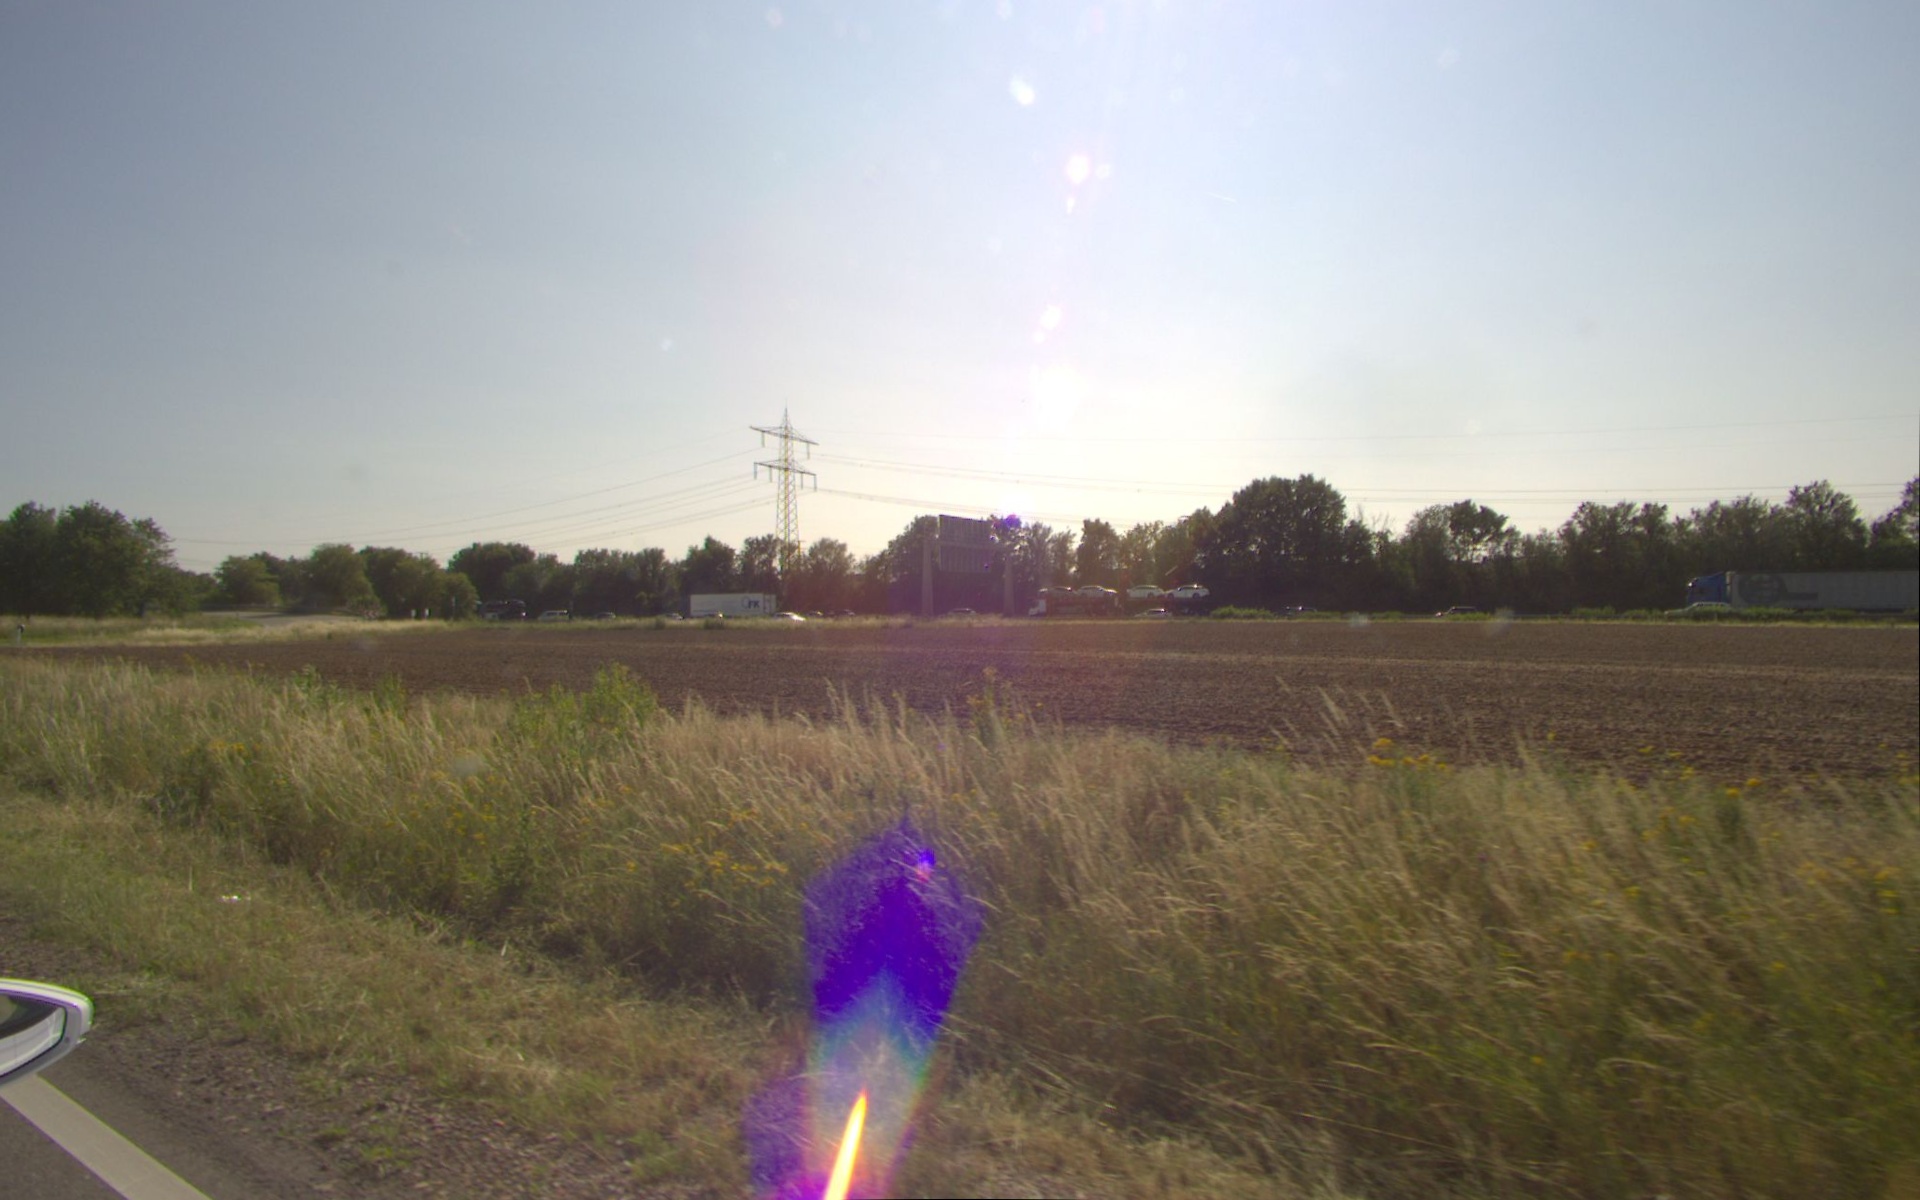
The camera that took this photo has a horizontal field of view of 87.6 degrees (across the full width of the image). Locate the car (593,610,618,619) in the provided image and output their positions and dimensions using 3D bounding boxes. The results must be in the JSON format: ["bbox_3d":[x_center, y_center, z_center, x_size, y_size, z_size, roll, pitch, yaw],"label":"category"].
[{"bbox_3d":[-49.292,1.984,139.146,3.527,1.166,1.393,0,-1,30],"label":"car"}]

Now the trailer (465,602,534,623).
[{"bbox_3d":[-74.785,2.021,162.489,13.253,3.310,3.279,0,0,31],"label":"trailer"}]

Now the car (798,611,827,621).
[{"bbox_3d":[-18.907,2.056,128.553,3.527,1.166,1.393,0,-1,30],"label":"car"}]

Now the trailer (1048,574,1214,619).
[{"bbox_3d":[18.006,-0.270,106.718,17.301,4.512,3.416,-1,0,30],"label":"trailer"}]

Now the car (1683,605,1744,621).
[{"bbox_3d":[56.614,1.002,75.294,3.530,1.166,1.392,0,-1,33],"label":"car"}]

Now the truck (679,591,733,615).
[{"bbox_3d":[-35.440,0.437,139.694,6.876,3.310,3.279,-1,0,31],"label":"truck"}]

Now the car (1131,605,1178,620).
[{"bbox_3d":[19.086,1.255,98.332,4.186,1.403,1.848,0,-1,32],"label":"car"}]

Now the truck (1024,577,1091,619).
[{"bbox_3d":[10.800,-0.198,110.894,6.606,4.512,3.416,-1,1,30],"label":"truck"}]

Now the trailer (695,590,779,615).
[{"bbox_3d":[-30.527,0.367,136.754,12.273,3.310,3.278,-1,0,31],"label":"trailer"}]

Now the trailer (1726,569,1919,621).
[{"bbox_3d":[67.268,-0.338,76.723,13.439,3.782,3.065,-1,0,33],"label":"trailer"}]

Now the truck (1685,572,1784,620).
[{"bbox_3d":[61.961,-0.267,80.270,6.001,3.782,3.065,0,0,33],"label":"truck"}]
